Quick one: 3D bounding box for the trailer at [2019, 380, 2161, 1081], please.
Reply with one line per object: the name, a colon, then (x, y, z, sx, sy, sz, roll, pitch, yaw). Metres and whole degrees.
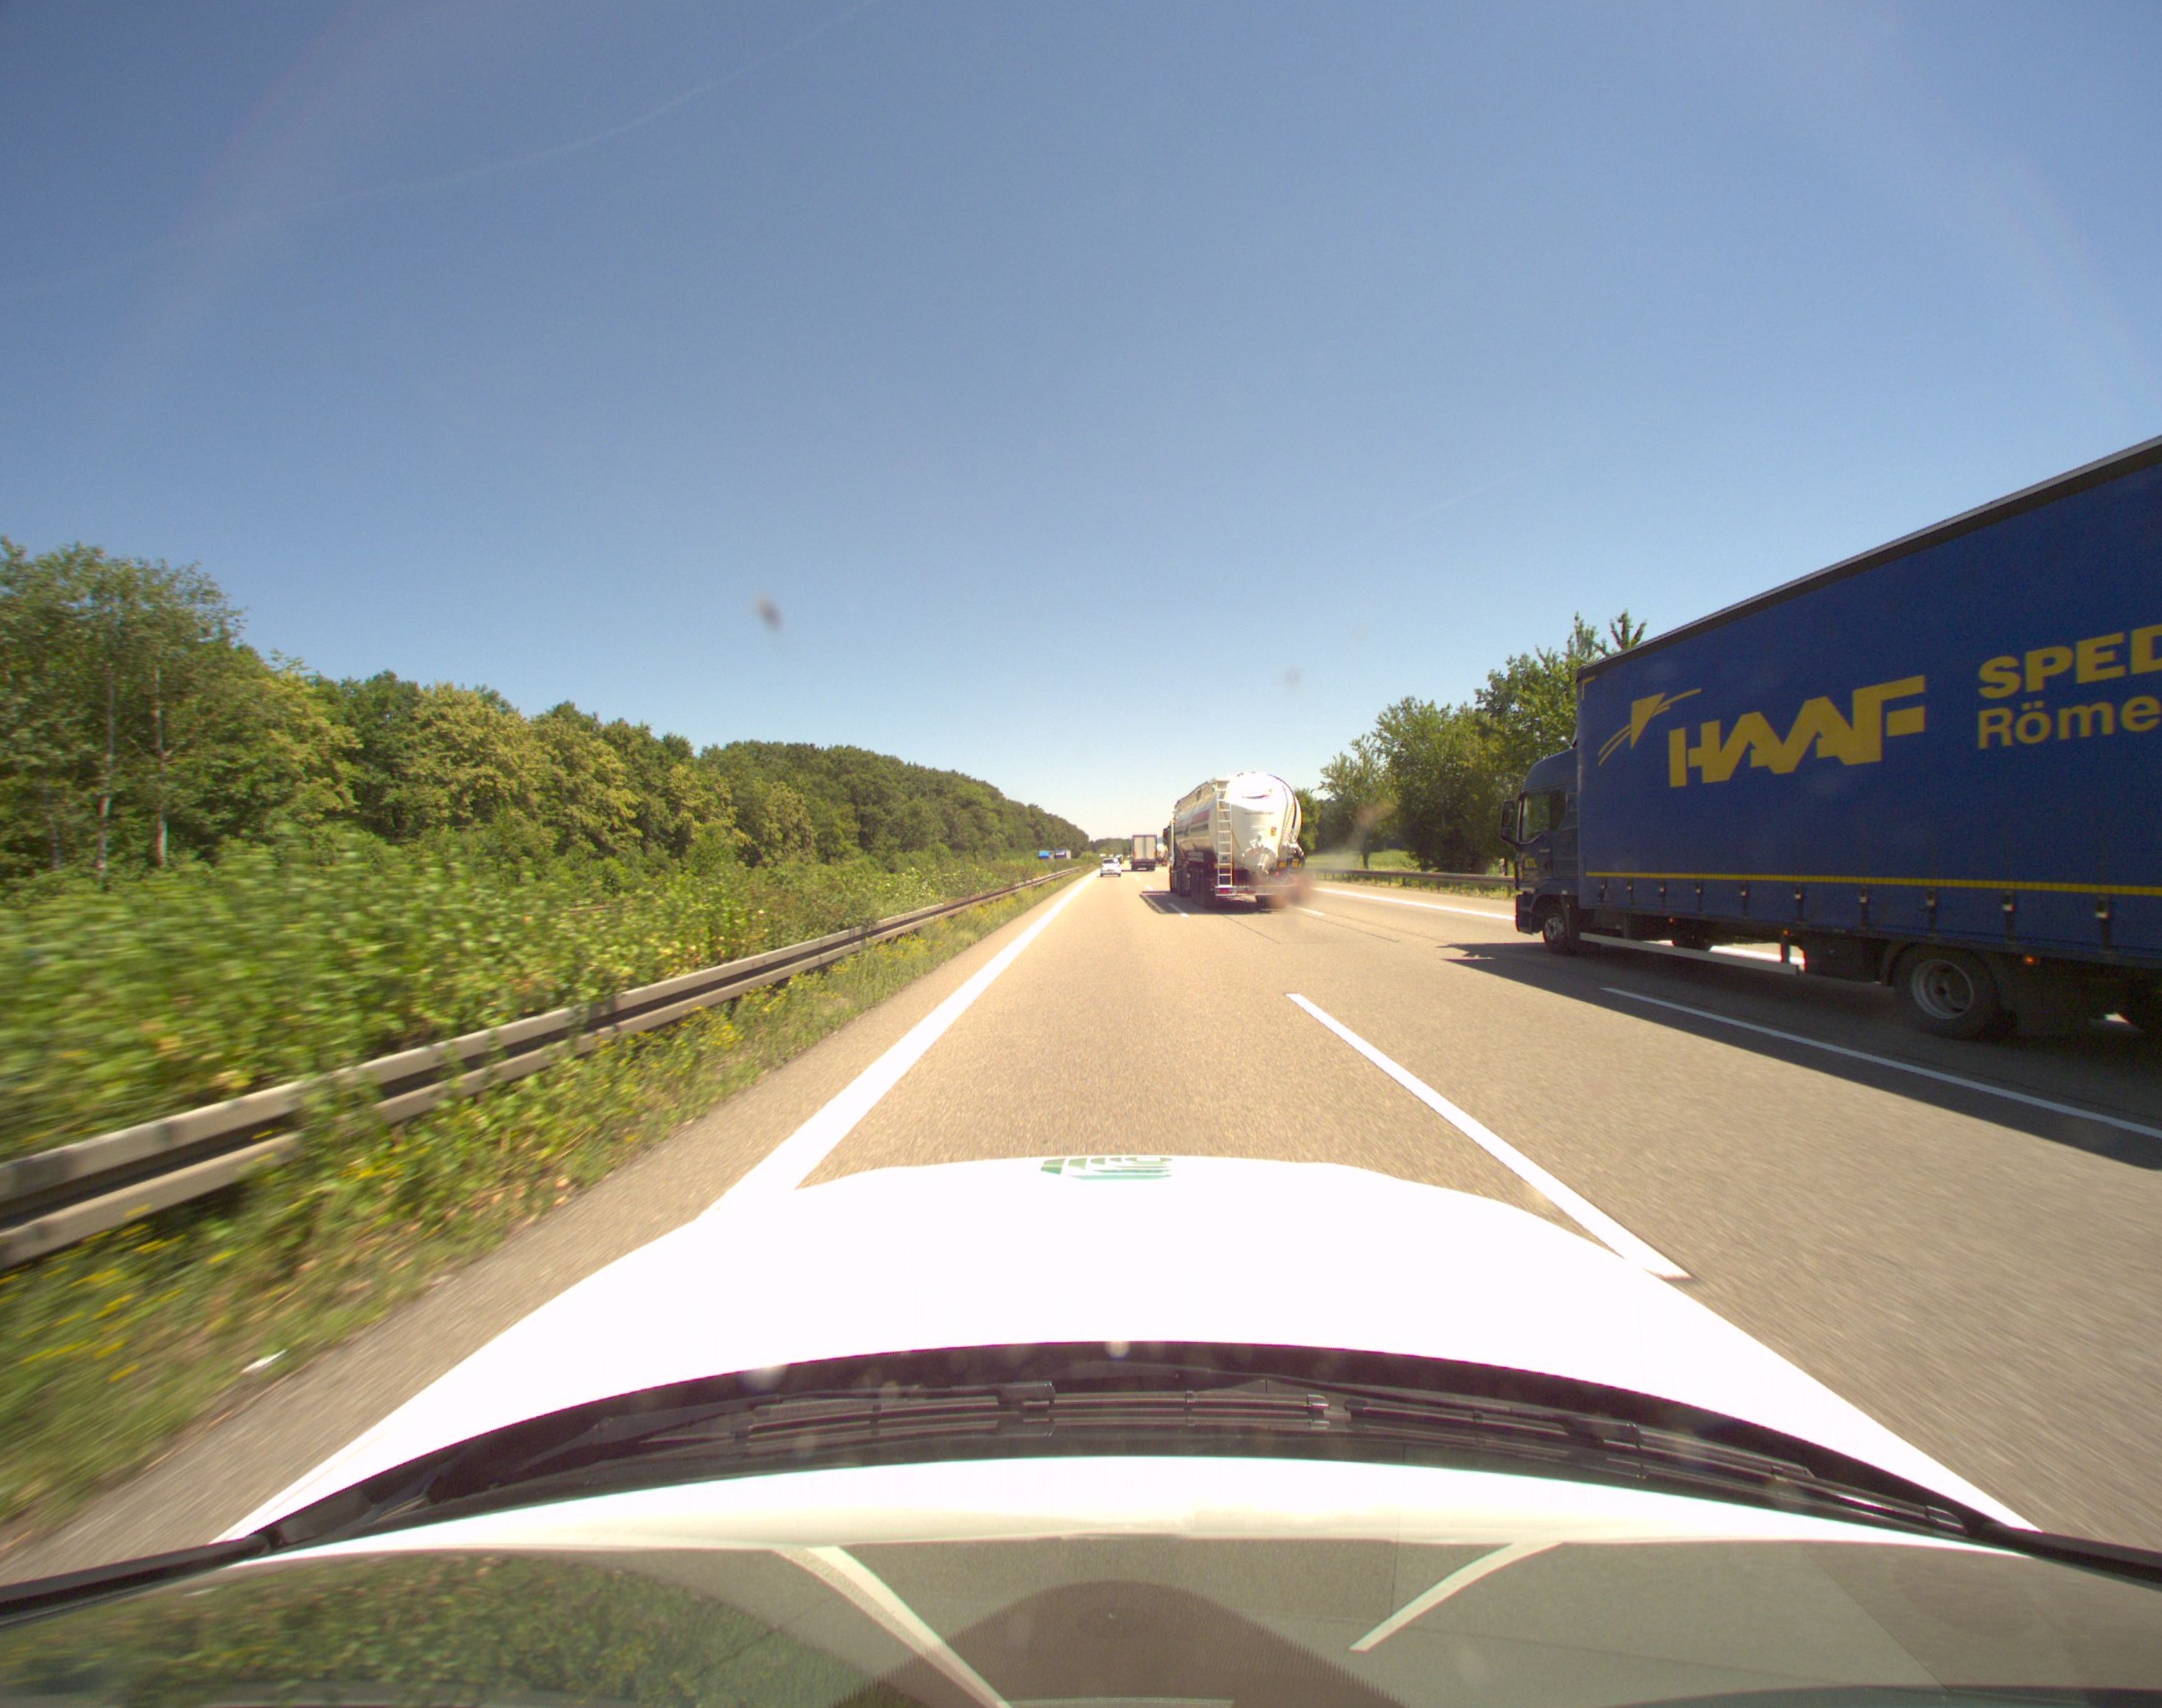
trailer: (7.740, -0.780, 0.161, 2.780, 4.204, 10.811, -2, 0, 2)

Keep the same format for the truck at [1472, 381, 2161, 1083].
truck: (7.998, -0.741, 8.558, 2.780, 4.204, 10.811, -2, 0, 2)

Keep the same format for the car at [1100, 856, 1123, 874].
car: (2.513, 0.897, 67.265, 1.805, 1.405, 3.318, -2, 0, 1)

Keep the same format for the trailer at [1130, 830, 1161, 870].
trailer: (7.556, -0.419, 94.574, 3.208, 4.143, 12.368, -2, 0, 5)

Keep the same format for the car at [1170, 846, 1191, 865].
car: (11.012, 0.206, 90.314, 1.848, 2.003, 5.526, -1, 0, 3)

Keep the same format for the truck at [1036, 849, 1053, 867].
truck: (-8.504, 0.957, 190.912, 3.001, 4.114, 10.007, -2, 0, 3)

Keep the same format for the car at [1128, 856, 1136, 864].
car: (12.850, 1.487, 205.281, 1.661, 1.765, 4.003, -2, 0, 3)

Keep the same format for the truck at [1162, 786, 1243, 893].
truck: (5.125, -0.578, 35.153, 2.780, 4.204, 5.002, -2, 0, 2)

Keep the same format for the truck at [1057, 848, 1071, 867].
truck: (-3.808, 0.765, 182.991, 2.858, 4.009, 5.004, -2, 0, 3)

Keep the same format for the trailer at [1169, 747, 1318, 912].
trailer: (4.885, -0.617, 27.329, 2.780, 4.204, 12.357, -2, 0, 2)

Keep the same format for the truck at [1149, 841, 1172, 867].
truck: (13.724, 0.055, 141.782, 3.211, 4.345, 10.811, -2, 0, 2)
